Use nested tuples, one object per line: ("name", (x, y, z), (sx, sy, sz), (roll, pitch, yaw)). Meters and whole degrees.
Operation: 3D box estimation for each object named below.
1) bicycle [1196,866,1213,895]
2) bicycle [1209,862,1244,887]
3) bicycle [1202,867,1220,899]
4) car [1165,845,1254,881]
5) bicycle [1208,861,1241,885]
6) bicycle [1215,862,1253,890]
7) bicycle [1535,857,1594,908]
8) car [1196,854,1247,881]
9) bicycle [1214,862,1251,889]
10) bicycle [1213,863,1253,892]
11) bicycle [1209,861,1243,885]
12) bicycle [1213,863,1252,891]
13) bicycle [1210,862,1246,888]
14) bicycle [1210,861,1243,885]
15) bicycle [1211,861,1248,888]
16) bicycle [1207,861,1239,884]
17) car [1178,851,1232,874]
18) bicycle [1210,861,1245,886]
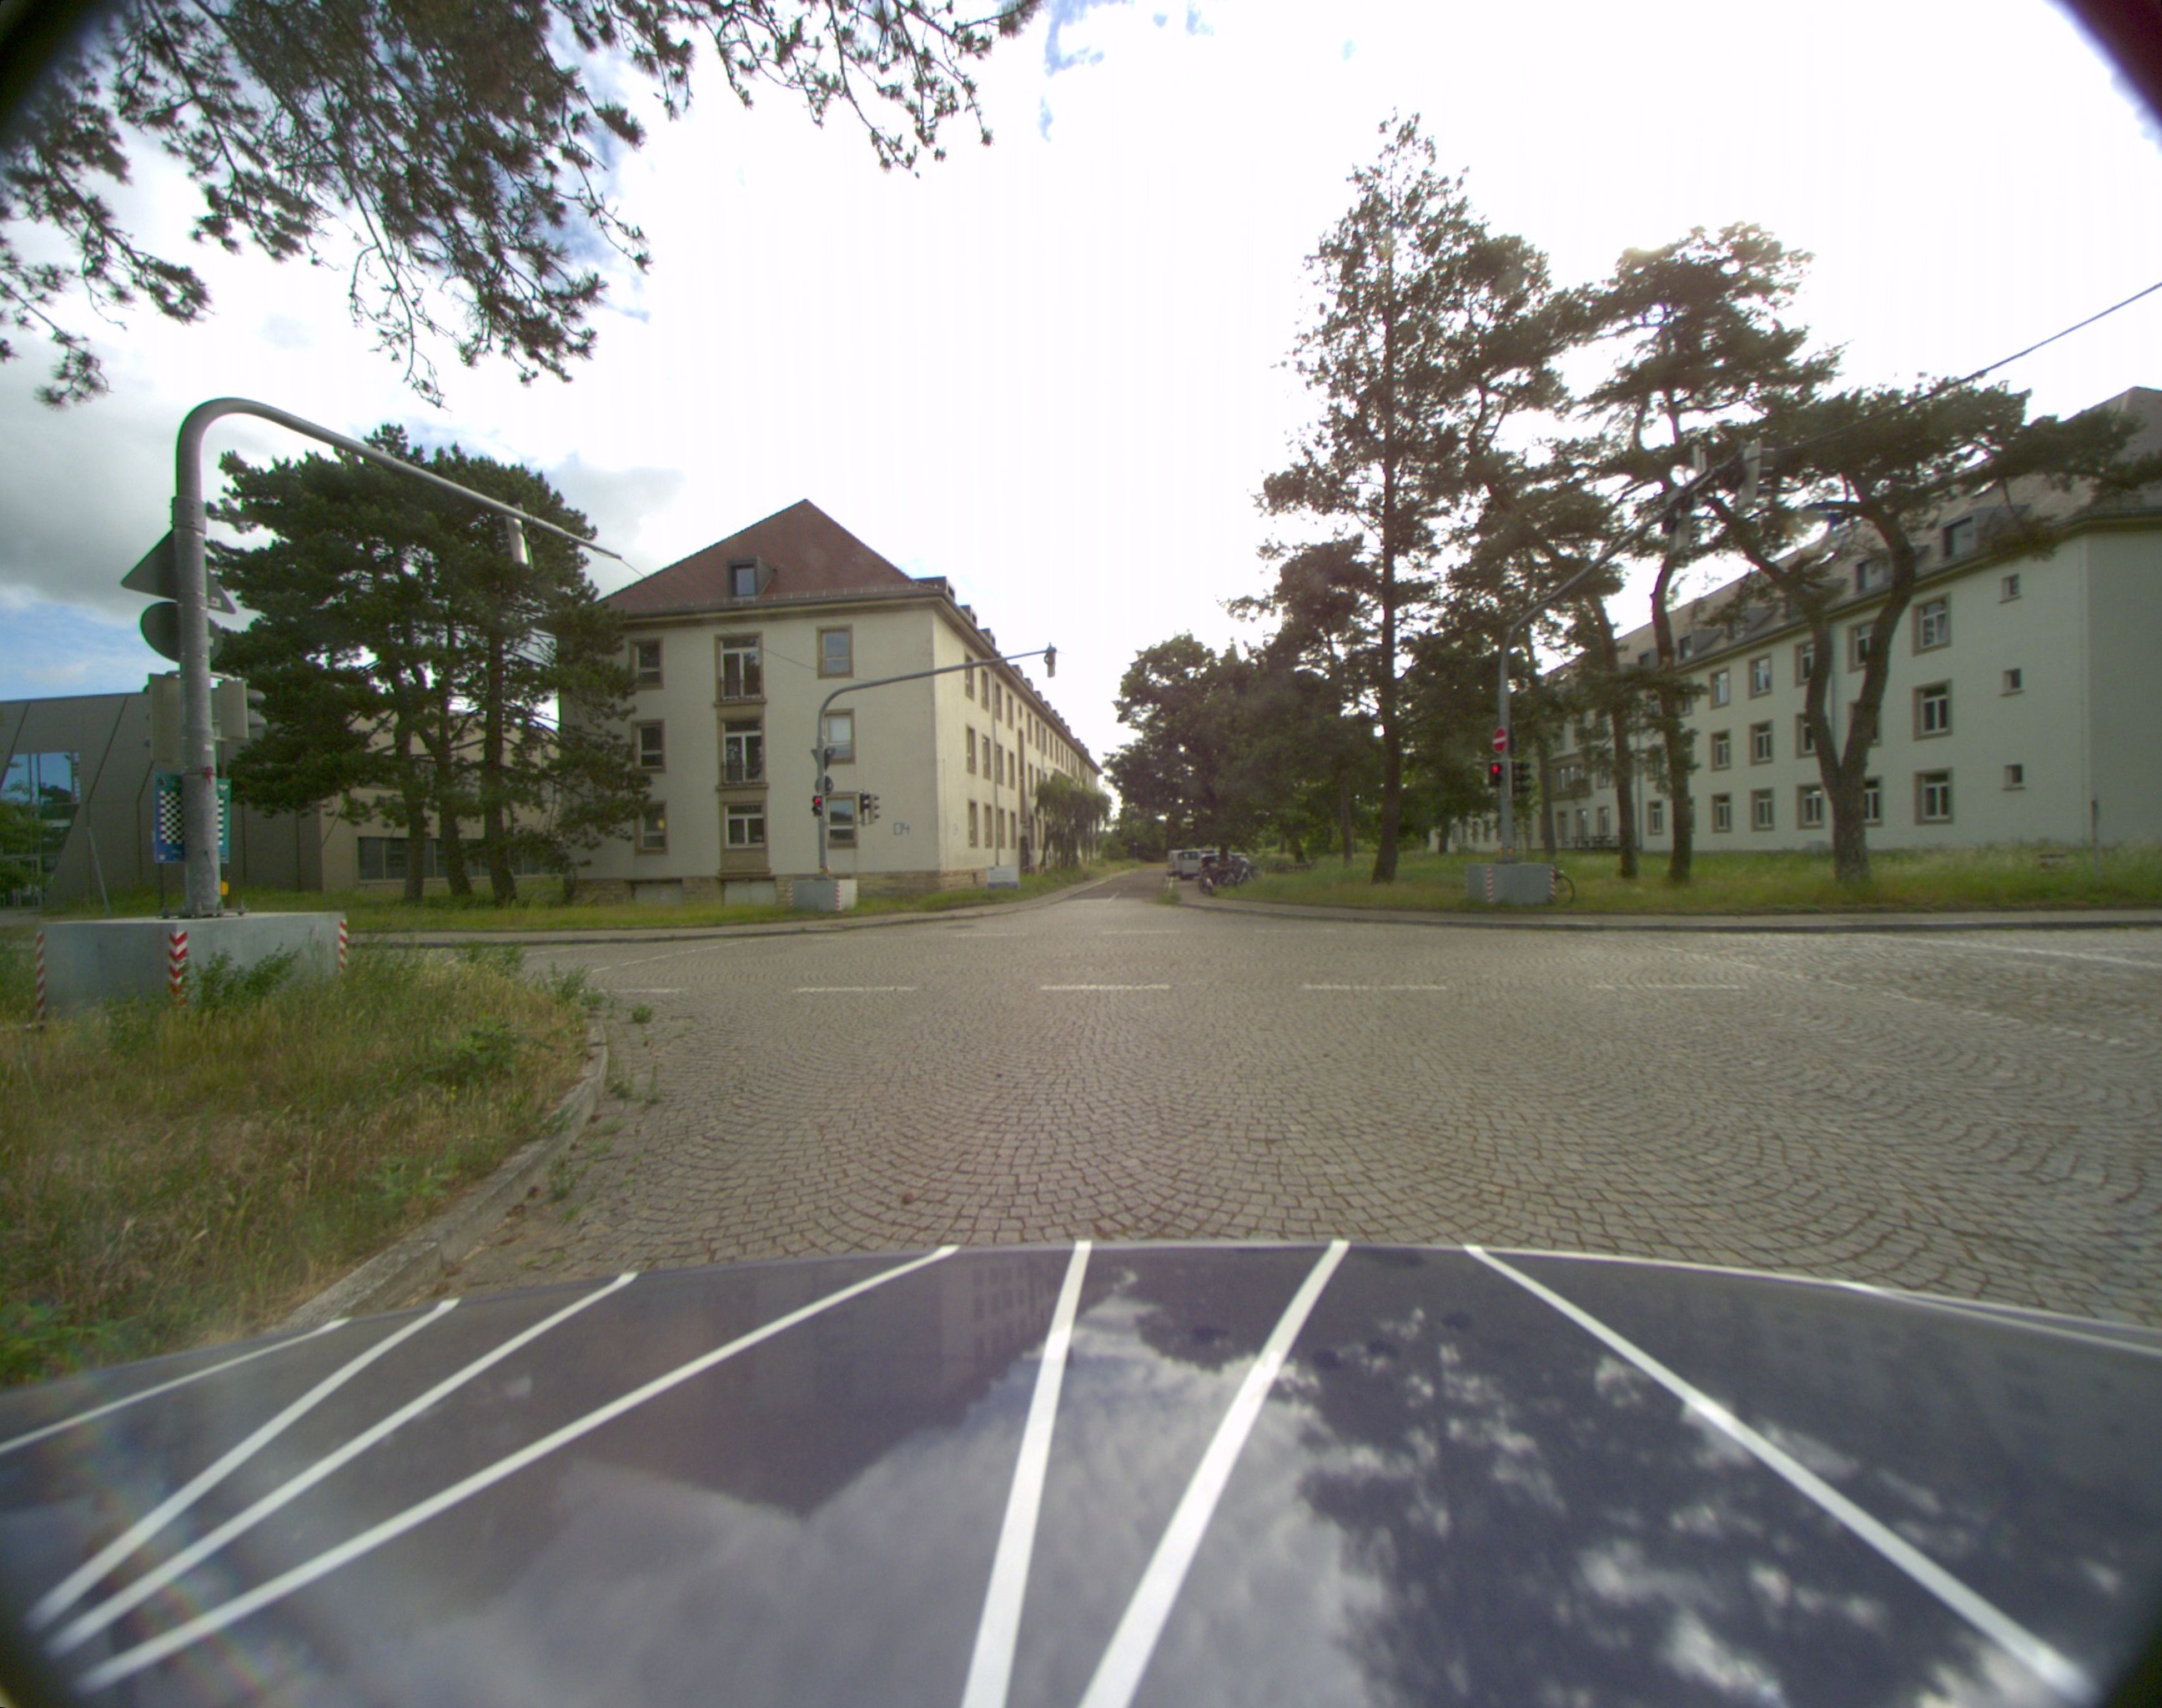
("bicycle", (4.740, 1.002, 29.283), (0.497, 1.032, 1.417), (-4, 0, 6))
("bicycle", (6.601, 0.915, 34.556), (1.456, 1.032, 0.498), (-4, 1, 2))
("bicycle", (4.731, 1.026, 27.667), (0.497, 1.068, 1.417), (-4, 0, 6))
("car", (8.168, 0.561, 48.517), (5.170, 1.905, 2.035), (-3, 0, -6))
("bicycle", (6.941, 0.905, 36.704), (1.456, 1.032, 0.498), (-4, 1, 2))
("bicycle", (6.501, 0.931, 32.315), (1.456, 1.032, 0.498), (-4, 1, 2))
("bicycle", (11.101, 0.637, 17.489), (0.497, 1.068, 1.417), (-4, 0, 4))
("car", (8.332, 0.787, 45.134), (2.770, 1.407, 1.593), (-4, 0, 6))
("bicycle", (6.543, 0.921, 32.899), (1.456, 1.032, 0.498), (-4, 1, 2))
("bicycle", (6.088, 0.928, 30.520), (1.456, 1.032, 0.498), (-4, 1, 0))
("bicycle", (6.801, 0.898, 35.663), (1.456, 1.032, 0.498), (-4, 1, 2))
("bicycle", (6.247, 0.935, 31.303), (1.456, 1.032, 0.498), (-4, 1, 2))
("bicycle", (6.584, 0.929, 34.063), (1.456, 1.032, 0.498), (-4, 1, 2))
("bicycle", (6.925, 0.895, 36.180), (1.456, 1.032, 0.498), (-4, 1, 2))
("bicycle", (6.559, 0.903, 33.593), (1.456, 1.032, 0.498), (-4, 1, 2))
("bicycle", (6.944, 0.908, 37.182), (1.456, 1.032, 0.498), (-4, 1, 2))
("car", (10.177, 0.668, 62.516), (4.090, 1.710, 1.859), (-1, 2, -1))
("bicycle", (6.782, 0.907, 35.172), (1.456, 1.032, 0.498), (-4, 1, 2))
